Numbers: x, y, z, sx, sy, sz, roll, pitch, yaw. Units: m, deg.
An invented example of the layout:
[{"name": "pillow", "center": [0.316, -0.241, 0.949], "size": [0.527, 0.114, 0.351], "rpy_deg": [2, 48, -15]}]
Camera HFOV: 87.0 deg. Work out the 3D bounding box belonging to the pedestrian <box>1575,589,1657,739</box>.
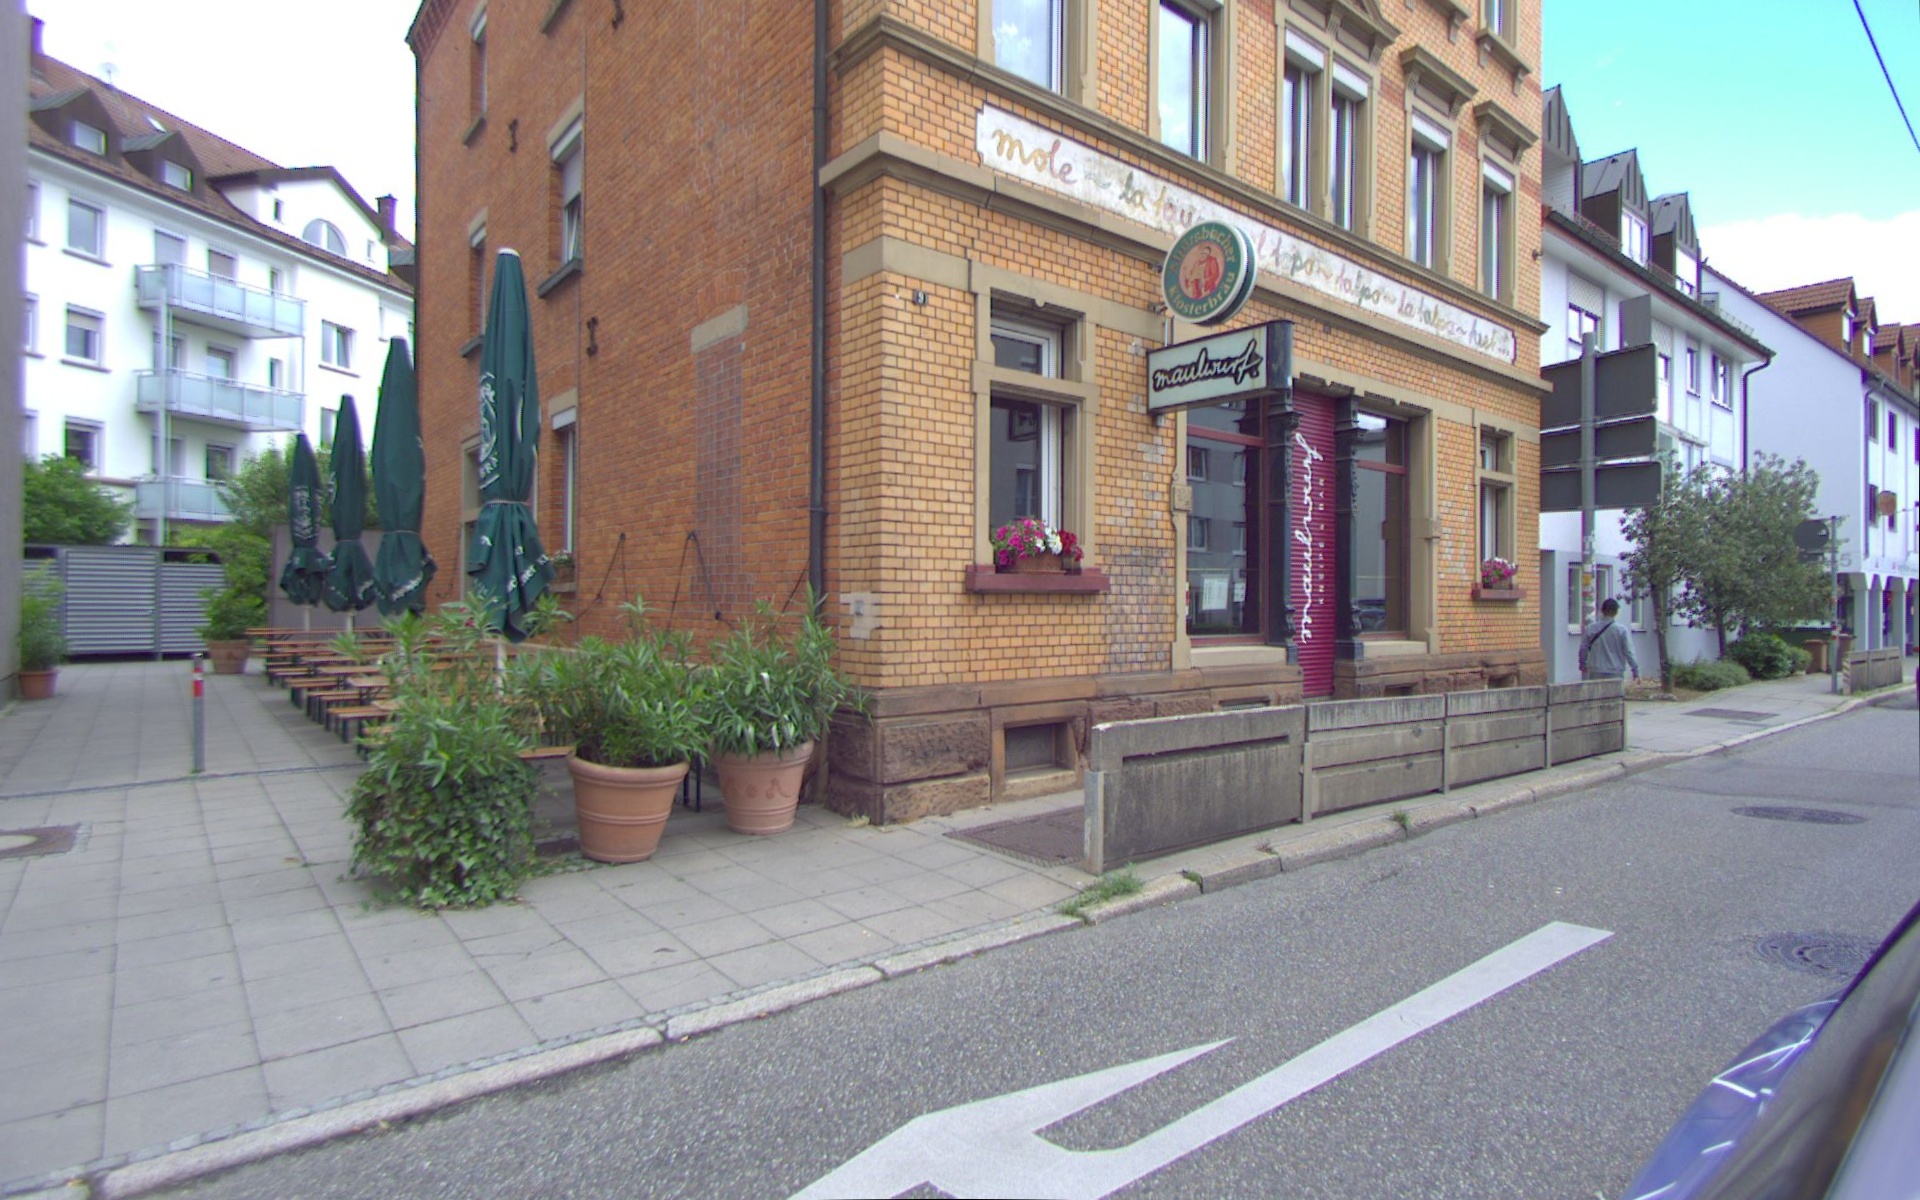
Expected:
[{"name": "pedestrian", "center": [7.970, 0.746, 12.295], "size": [0.638, 1.753, 0.689], "rpy_deg": [1, 0, -41]}]
